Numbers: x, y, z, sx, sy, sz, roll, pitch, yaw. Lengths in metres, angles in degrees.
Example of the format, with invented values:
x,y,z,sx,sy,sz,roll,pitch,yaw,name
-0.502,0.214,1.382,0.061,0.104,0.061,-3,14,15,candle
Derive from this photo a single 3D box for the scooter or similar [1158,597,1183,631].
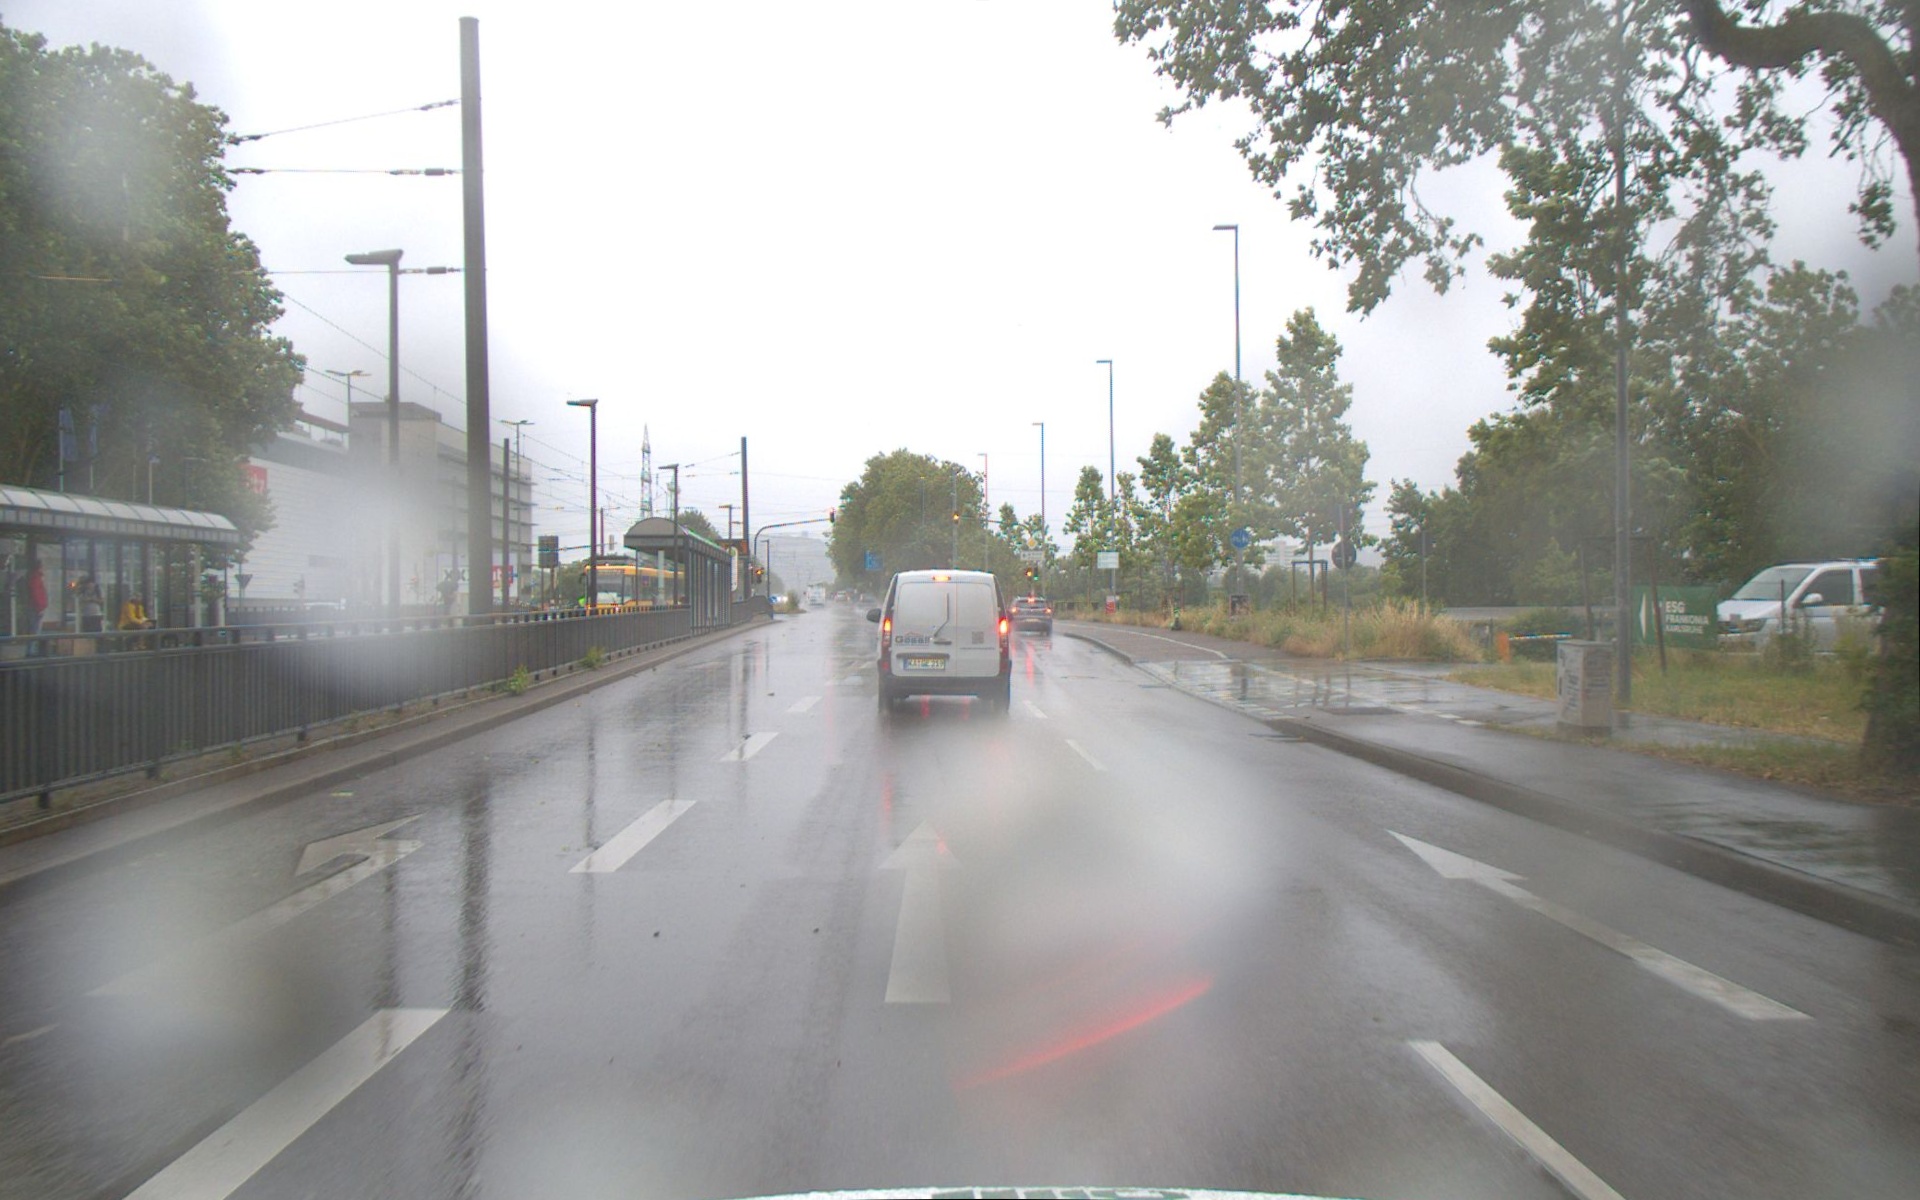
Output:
x,y,z,sx,sy,sz,roll,pitch,yaw,name
7.624,0.491,59.934,0.630,1.216,1.561,-1,0,-4,scooter or similar

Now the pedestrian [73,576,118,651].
x,y,z,sx,sy,sz,roll,pitch,yaw,name
-18.516,0.290,35.447,0.815,1.589,0.667,2,0,-28,pedestrian

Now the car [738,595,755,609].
x,y,z,sx,sy,sz,roll,pitch,yaw,name
-33.033,0.301,256.218,1.952,2.049,4.000,1,0,1,car

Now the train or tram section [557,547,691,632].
x,y,z,sx,sy,sz,roll,pitch,yaw,name
-18.871,-0.495,95.548,3.695,4.107,27.073,1,0,-3,train or tram section

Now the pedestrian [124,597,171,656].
x,y,z,sx,sy,sz,roll,pitch,yaw,name
-18.585,0.593,37.855,0.630,1.326,0.815,1,0,2,pedestrian

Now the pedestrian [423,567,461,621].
x,y,z,sx,sy,sz,roll,pitch,yaw,name
-20.042,-0.217,64.003,1.065,2.049,1.096,1,0,1,pedestrian

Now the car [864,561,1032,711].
x,y,z,sx,sy,sz,roll,pitch,yaw,name
-0.267,0.446,22.515,1.985,1.806,4.270,1,0,-4,car

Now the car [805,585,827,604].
x,y,z,sx,sy,sz,roll,pitch,yaw,name
-14.115,-0.516,162.059,1.956,1.780,3.993,1,0,-8,car

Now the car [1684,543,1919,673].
x,y,z,sx,sy,sz,roll,pitch,yaw,name
15.225,0.164,27.943,5.147,2.049,1.998,1,0,-6,car

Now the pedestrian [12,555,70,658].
x,y,z,sx,sy,sz,roll,pitch,yaw,name
-17.931,0.133,32.292,0.608,1.967,0.815,1,0,2,pedestrian

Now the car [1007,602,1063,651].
x,y,z,sx,sy,sz,roll,pitch,yaw,name
2.862,1.000,63.785,1.952,1.780,4.000,1,0,1,car
